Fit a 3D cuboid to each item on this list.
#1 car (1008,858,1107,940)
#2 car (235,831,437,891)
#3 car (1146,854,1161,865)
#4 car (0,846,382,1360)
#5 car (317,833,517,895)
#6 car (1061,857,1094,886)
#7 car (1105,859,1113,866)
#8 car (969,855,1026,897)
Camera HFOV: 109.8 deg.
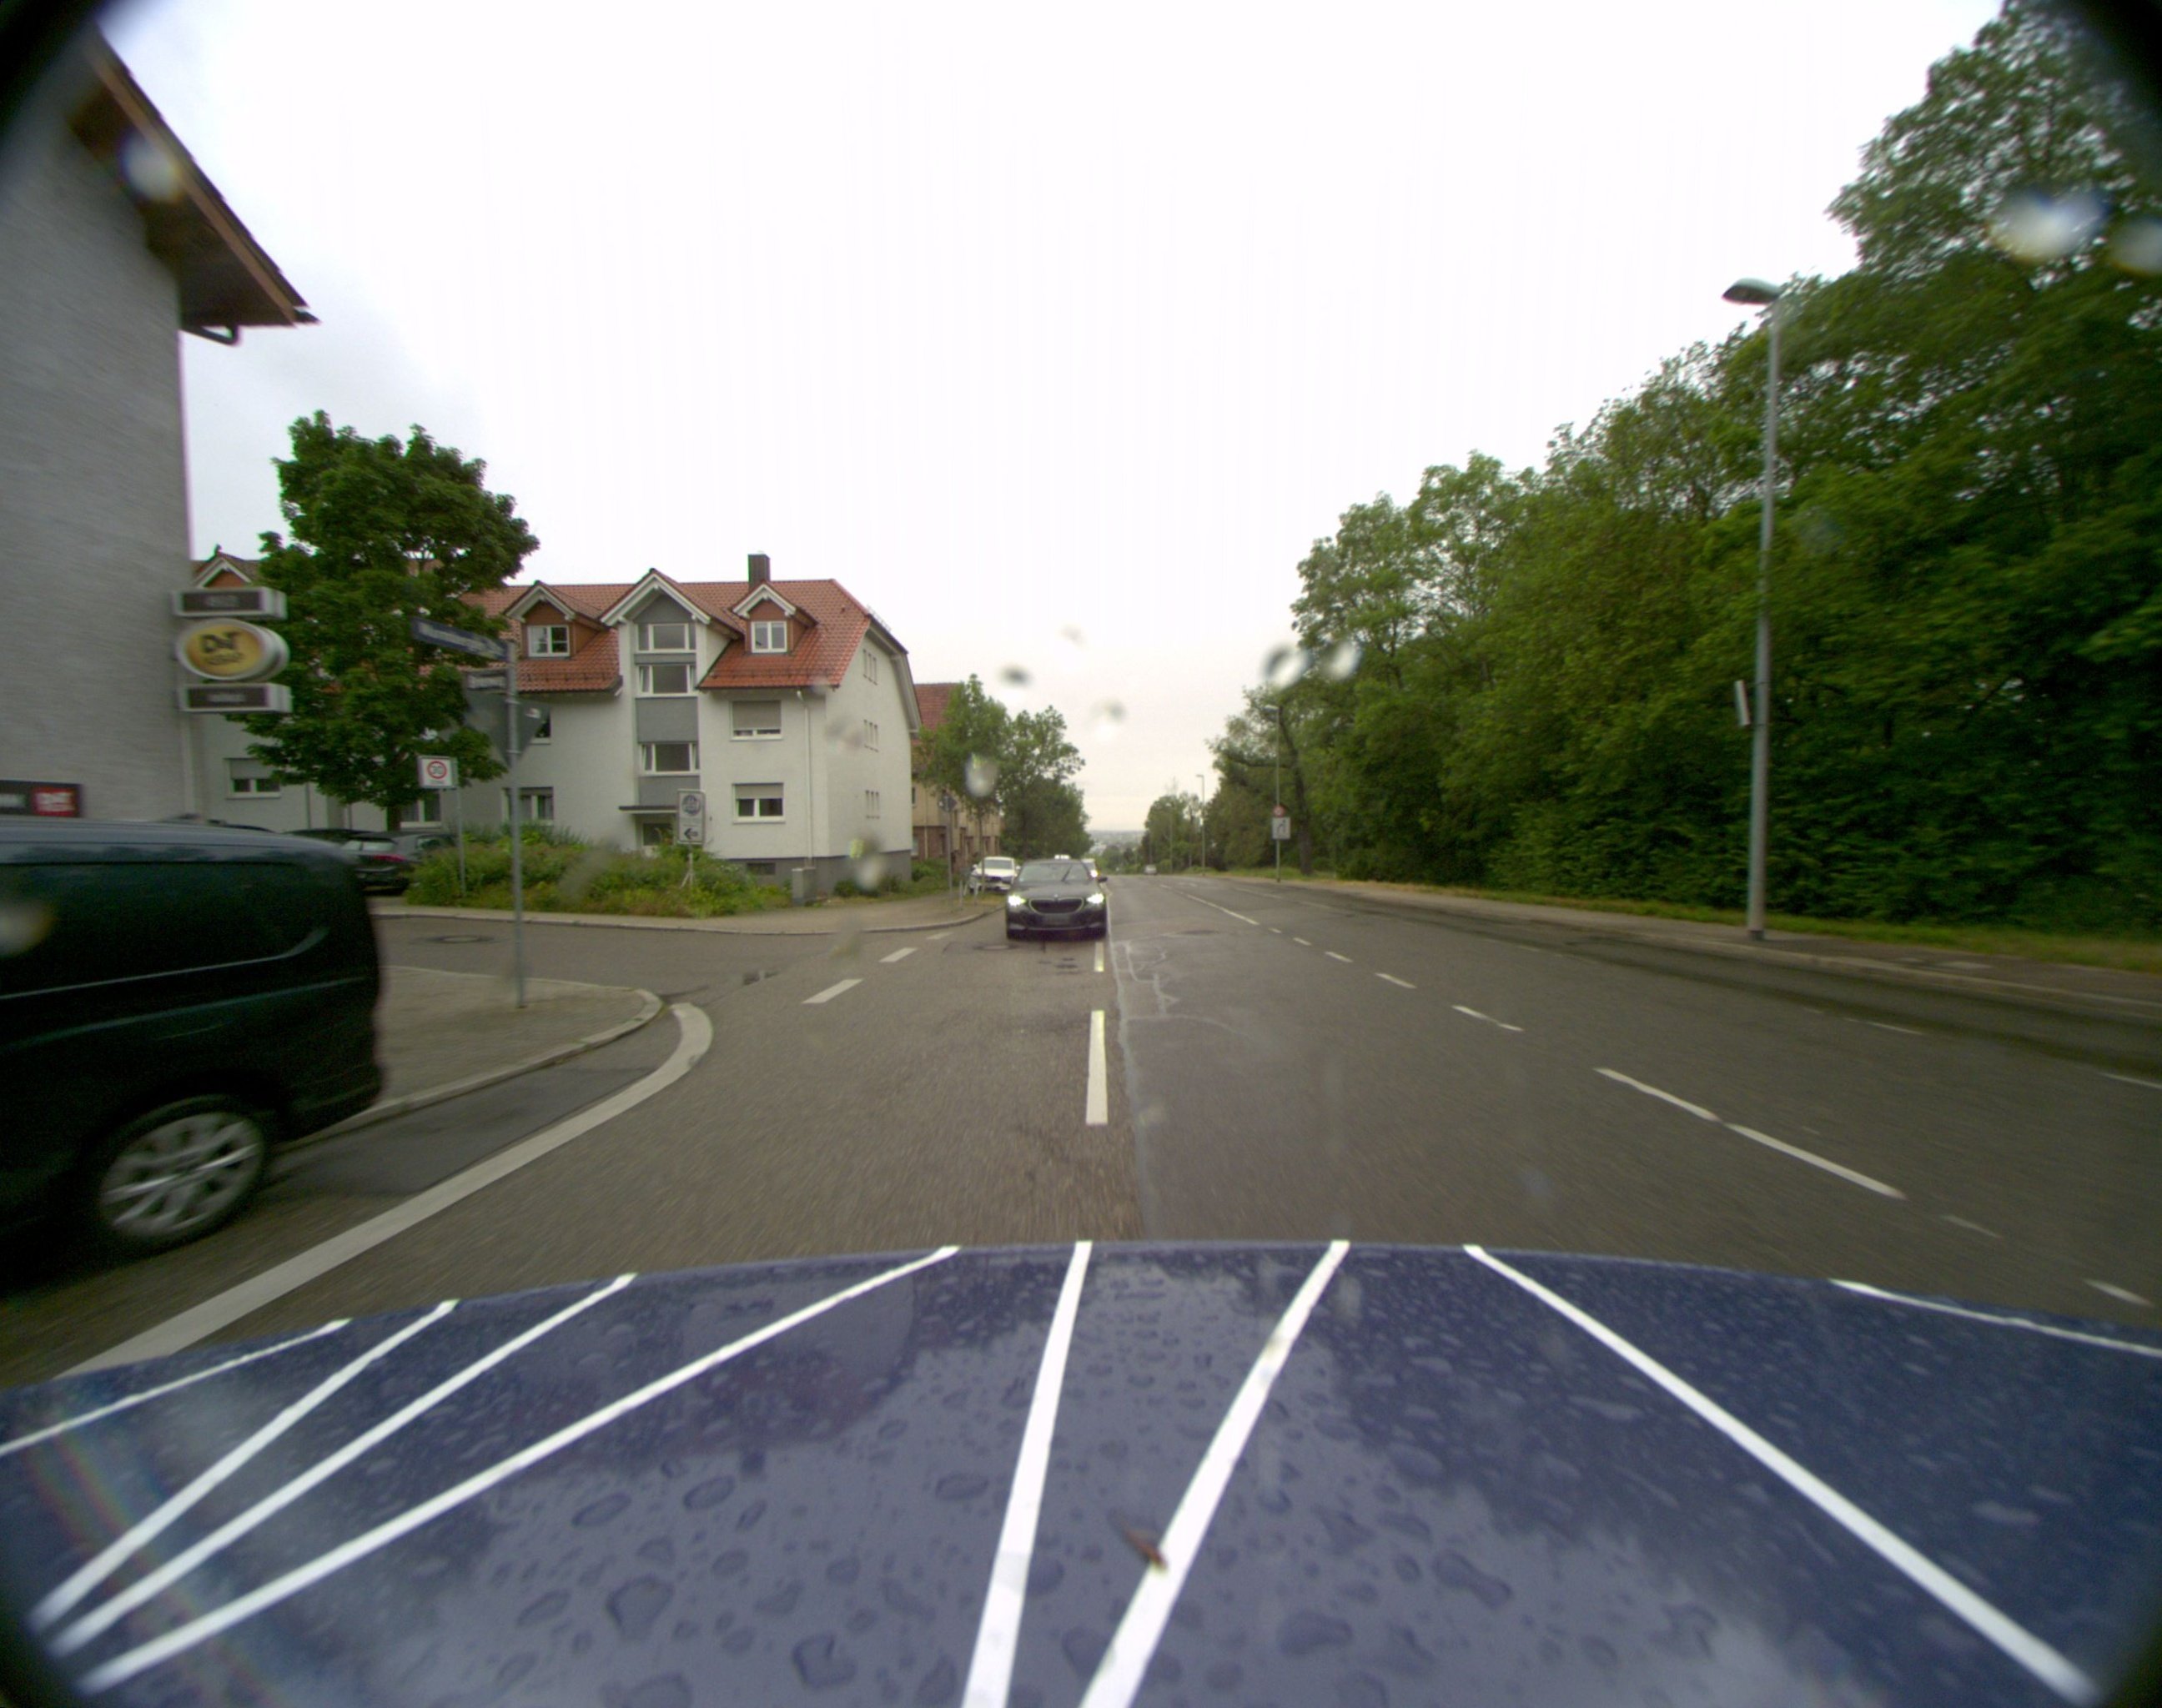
[{"bbox_3d":[-0.381,0.869,16.581,1.855,1.461,4.483,0,1,2],"label":"car"},{"bbox_3d":[-18.420,0.132,19.008,1.646,1.364,3.296,-1,1,4],"label":"car"},{"bbox_3d":[11.003,0.832,115.550,1.890,1.587,4.363,-1,1,3],"label":"car"},{"bbox_3d":[-4.938,0.887,1.772,1.847,1.797,4.688,1,0,10],"label":"car"},{"bbox_3d":[-16.112,0.194,18.691,1.646,1.364,3.528,-1,1,4],"label":"car"},{"bbox_3d":[-0.186,1.019,47.325,1.927,1.587,4.482,-1,1,0],"label":"car"},{"bbox_3d":[7.233,2.235,195.712,1.890,1.587,4.363,-1,1,3],"label":"car"},{"bbox_3d":[-3.566,0.899,33.321,1.927,1.651,4.483,-1,0,0],"label":"car"}]
